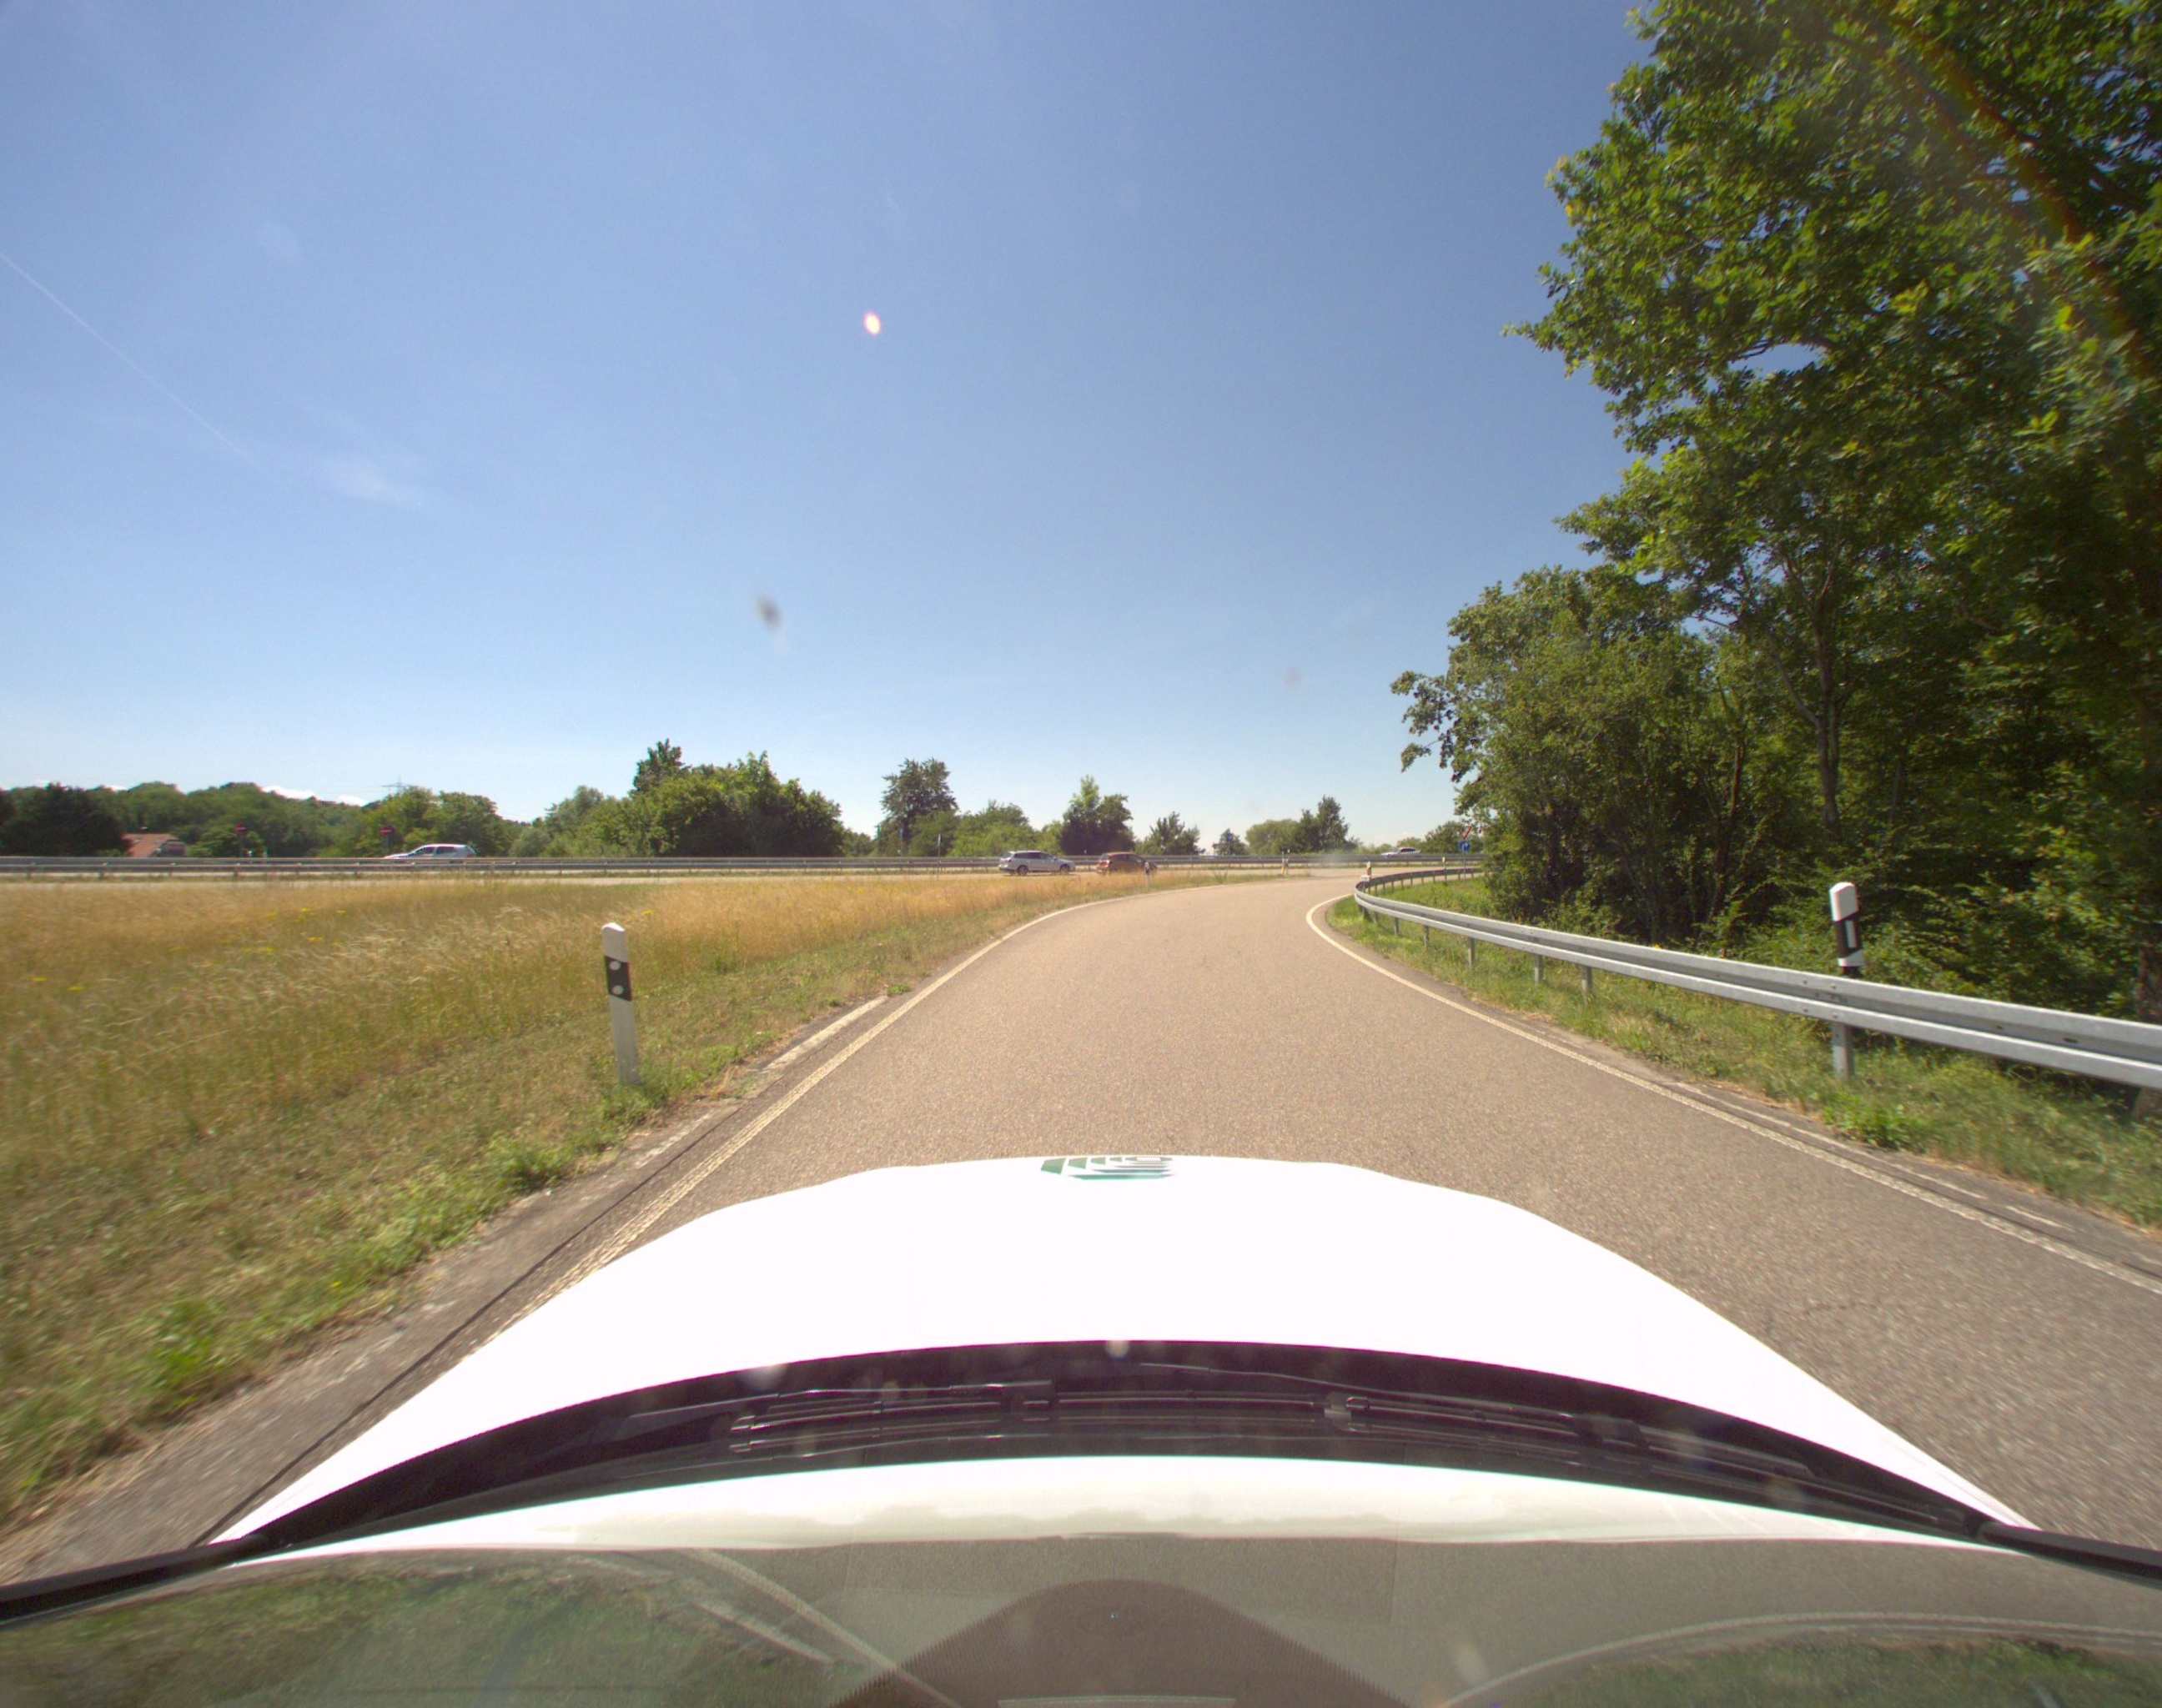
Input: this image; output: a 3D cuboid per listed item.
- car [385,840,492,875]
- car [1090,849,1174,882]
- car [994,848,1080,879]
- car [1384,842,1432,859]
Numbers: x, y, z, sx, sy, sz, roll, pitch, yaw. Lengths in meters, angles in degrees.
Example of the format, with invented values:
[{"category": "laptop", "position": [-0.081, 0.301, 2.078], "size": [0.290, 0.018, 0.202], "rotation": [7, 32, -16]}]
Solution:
[{"category": "car", "position": [-35.139, 0.217, 44.682], "size": [4.236, 1.790, 1.982], "rotation": [1, -1, -28]}, {"category": "car", "position": [3.012, 0.692, 47.951], "size": [4.534, 1.790, 1.984], "rotation": [1, -1, -24]}, {"category": "car", "position": [-2.678, 0.600, 49.488], "size": [4.791, 1.790, 1.984], "rotation": [1, -1, -24]}, {"category": "car", "position": [33.086, -0.385, 82.534], "size": [4.093, 1.750, 1.998], "rotation": [0, 1, -3]}]
